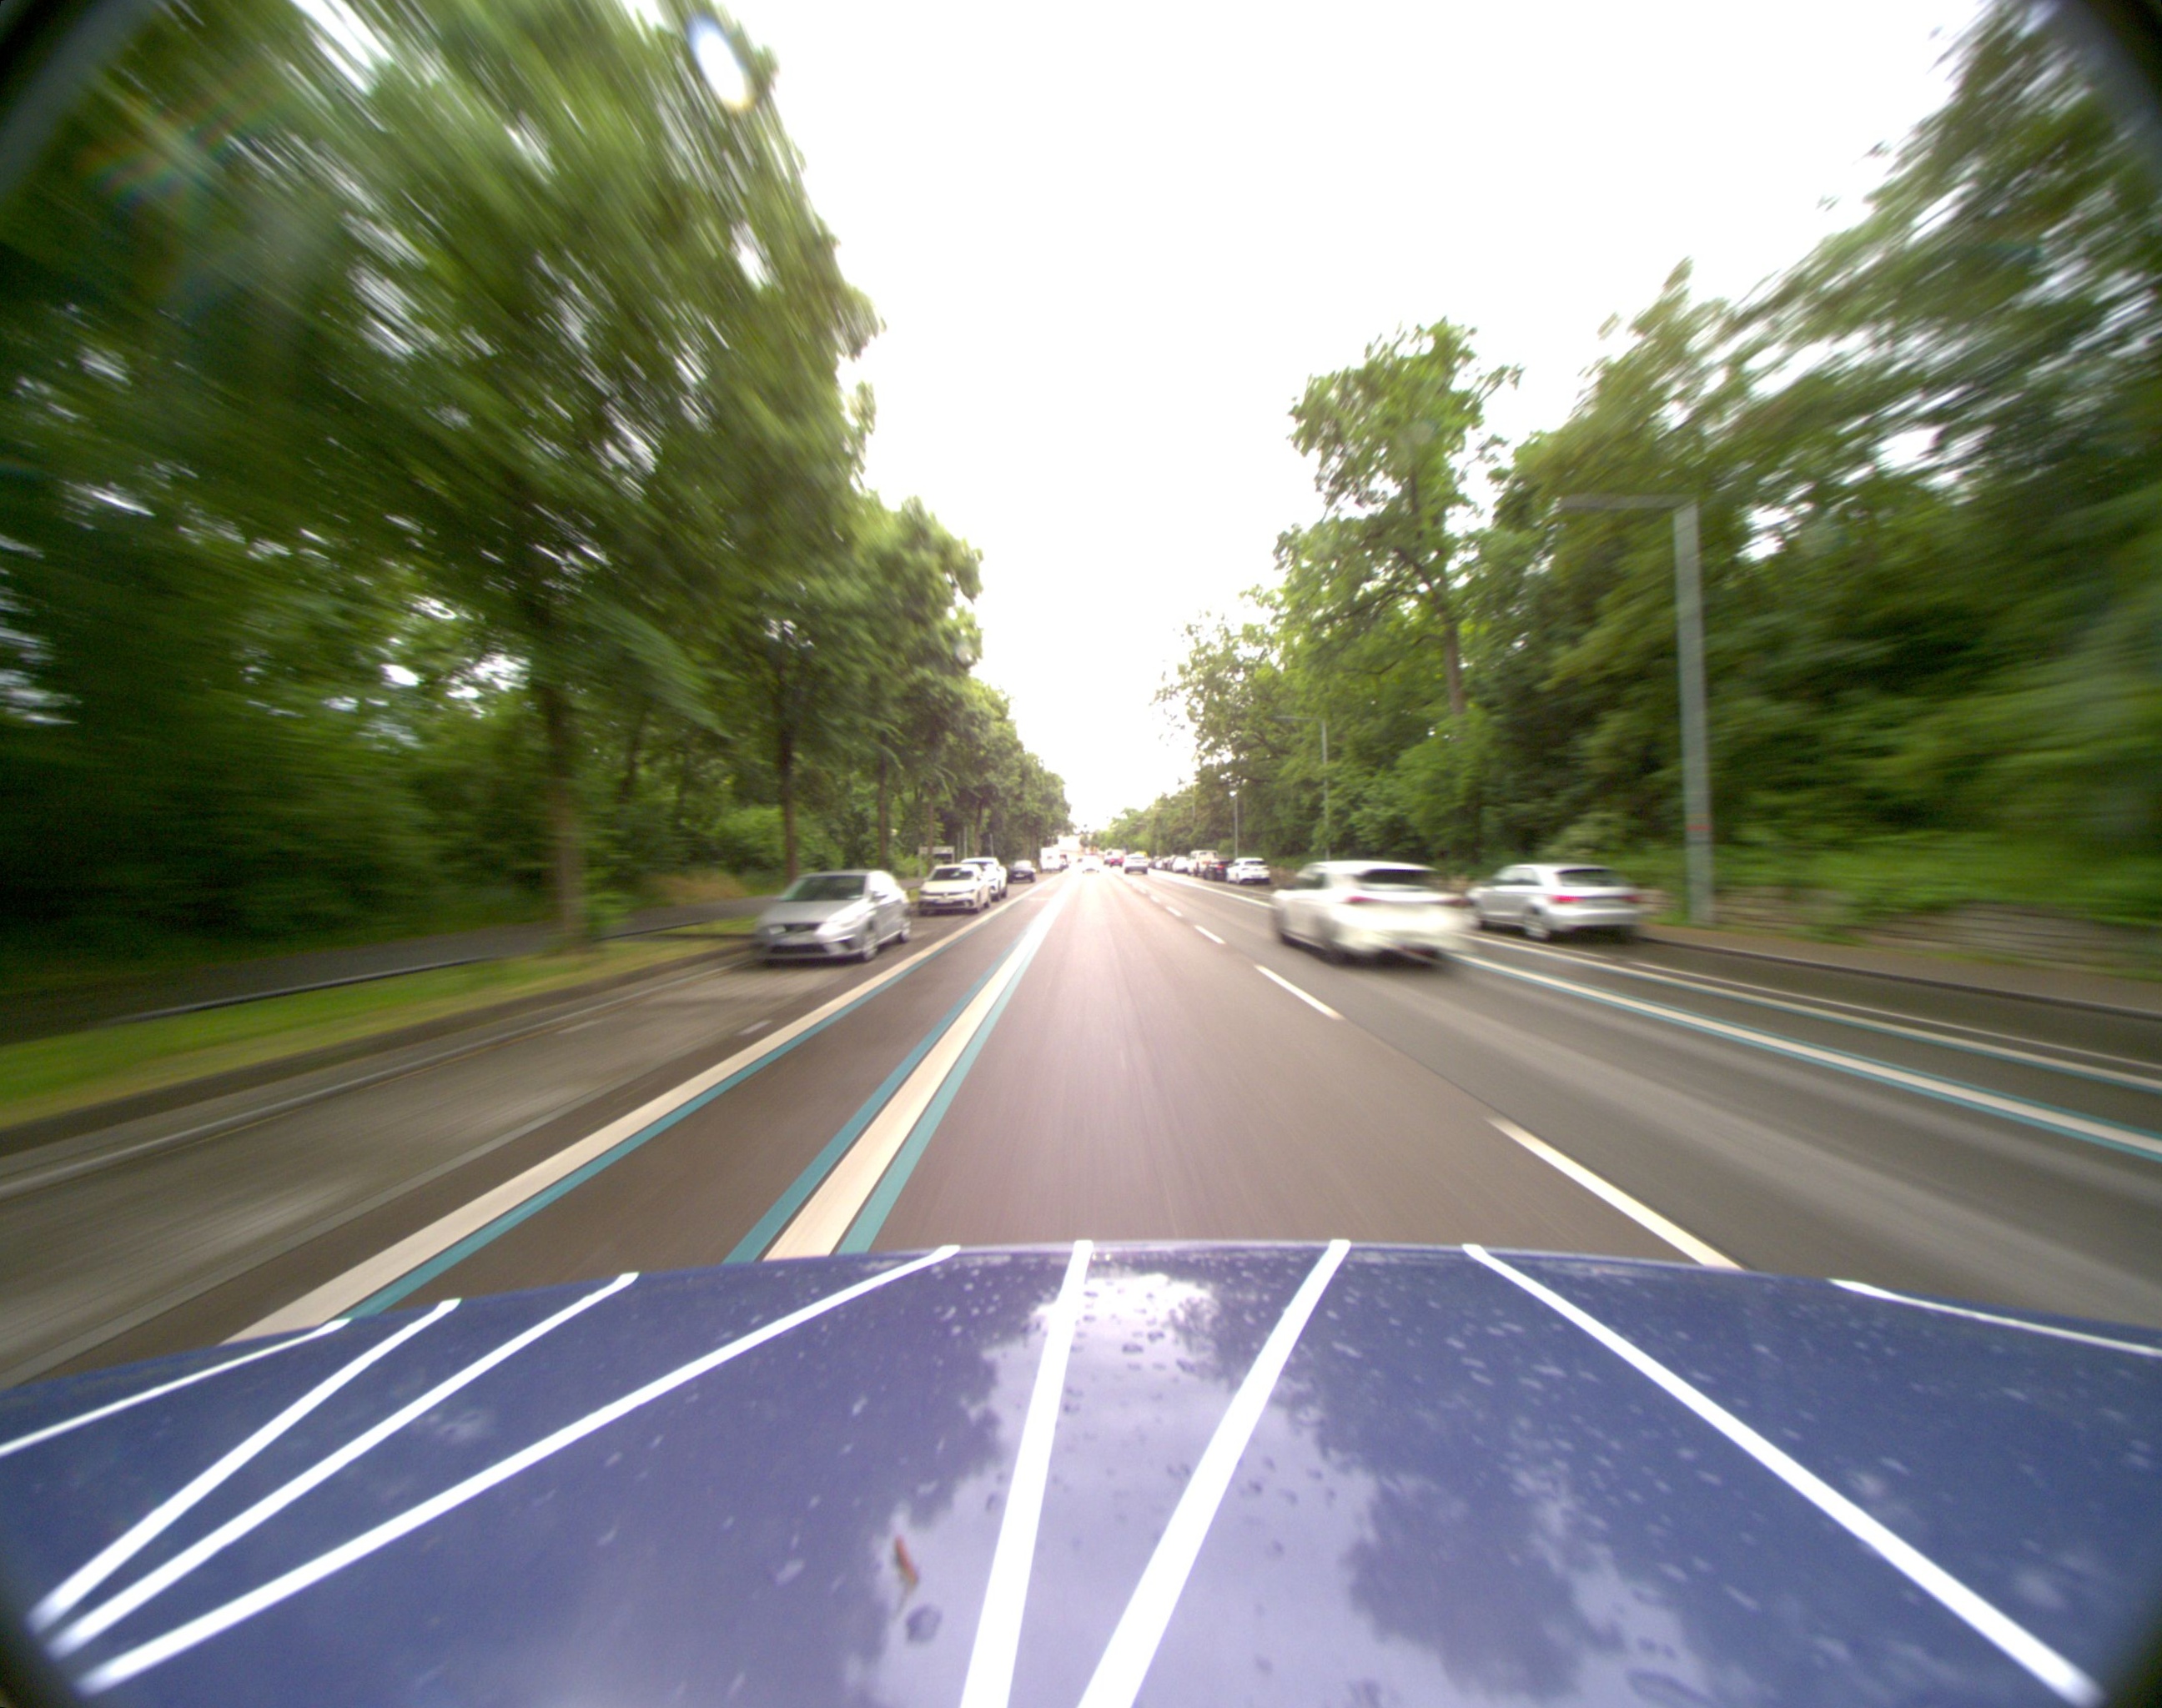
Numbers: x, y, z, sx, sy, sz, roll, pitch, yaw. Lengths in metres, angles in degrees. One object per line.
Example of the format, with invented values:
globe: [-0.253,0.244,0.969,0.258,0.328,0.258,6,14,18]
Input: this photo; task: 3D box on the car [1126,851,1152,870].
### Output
car: [5.070,0.550,66.570,1.958,1.629,4.445,1,0,1]

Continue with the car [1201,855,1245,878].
car: [9.221,0.782,49.669,1.826,1.390,4.444,-1,0,-2]

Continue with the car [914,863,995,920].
car: [-3.739,1.064,23.097,1.702,1.445,3.946,-2,0,0]

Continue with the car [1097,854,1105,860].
car: [5.114,0.707,195.338,1.805,1.394,3.999,-1,0,-3]

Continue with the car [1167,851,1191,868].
car: [9.906,0.576,76.949,1.740,1.651,4.673,-1,0,0]

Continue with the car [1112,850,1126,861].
car: [5.864,0.253,117.381,2.043,1.639,4.477,0,0,1]

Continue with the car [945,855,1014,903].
car: [-3.852,0.920,29.643,1.998,1.652,4.562,-2,0,0]

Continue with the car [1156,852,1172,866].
car: [9.716,0.596,88.647,1.527,1.584,2.860,0,0,0]

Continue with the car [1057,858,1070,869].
car: [-2.622,1.464,114.038,1.804,1.589,4.000,-1,0,0]

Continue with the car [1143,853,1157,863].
car: [10.297,0.660,113.523,1.825,1.427,3.773,-1,0,1]

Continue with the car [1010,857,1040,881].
car: [-3.605,0.937,49.241,1.700,1.468,3.997,-1,0,-1]

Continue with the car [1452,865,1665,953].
car: [9.101,0.964,14.930,1.694,1.397,4.028,-2,0,2]

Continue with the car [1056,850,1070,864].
car: [-2.976,0.513,126.026,1.998,2.231,4.000,-2,1,1]

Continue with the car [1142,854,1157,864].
car: [9.796,0.719,108.809,1.825,1.285,4.206,-1,0,1]

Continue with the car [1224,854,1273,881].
car: [9.477,0.749,43.244,1.759,1.427,4.356,-1,0,-1]

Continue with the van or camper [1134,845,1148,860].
van or camper: [10.565,-0.273,134.255,2.165,2.437,4.436,-1,0,1]

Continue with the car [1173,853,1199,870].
car: [9.650,0.658,70.422,1.811,1.489,4.753,0,1,1]

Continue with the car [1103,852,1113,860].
car: [5.311,0.378,150.277,1.769,1.449,4.496,1,0,1]

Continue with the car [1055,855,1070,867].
car: [-2.296,0.828,95.722,1.804,1.455,4.000,-1,0,0]

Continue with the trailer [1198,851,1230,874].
trailer: [9.602,0.608,54.839,1.347,1.647,2.271,0,1,39]

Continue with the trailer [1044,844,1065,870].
trailer: [-2.740,0.275,78.188,1.988,2.550,3.999,-2,0,-2]

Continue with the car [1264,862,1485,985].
car: [4.172,0.891,11.570,1.780,1.457,4.062,1,0,0]

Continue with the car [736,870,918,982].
car: [-4.094,1.081,12.988,1.702,1.445,4.097,-2,0,-1]

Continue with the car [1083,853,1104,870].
car: [1.200,0.703,73.052,1.998,1.589,4.000,-2,0,1]

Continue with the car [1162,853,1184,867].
car: [10.016,0.649,83.118,1.901,1.466,4.553,-1,0,0]

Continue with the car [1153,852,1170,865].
car: [9.835,0.562,92.923,1.819,1.579,3.992,-1,0,2]

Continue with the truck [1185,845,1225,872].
truck: [9.752,0.340,60.116,2.099,2.002,5.158,-1,0,-2]
